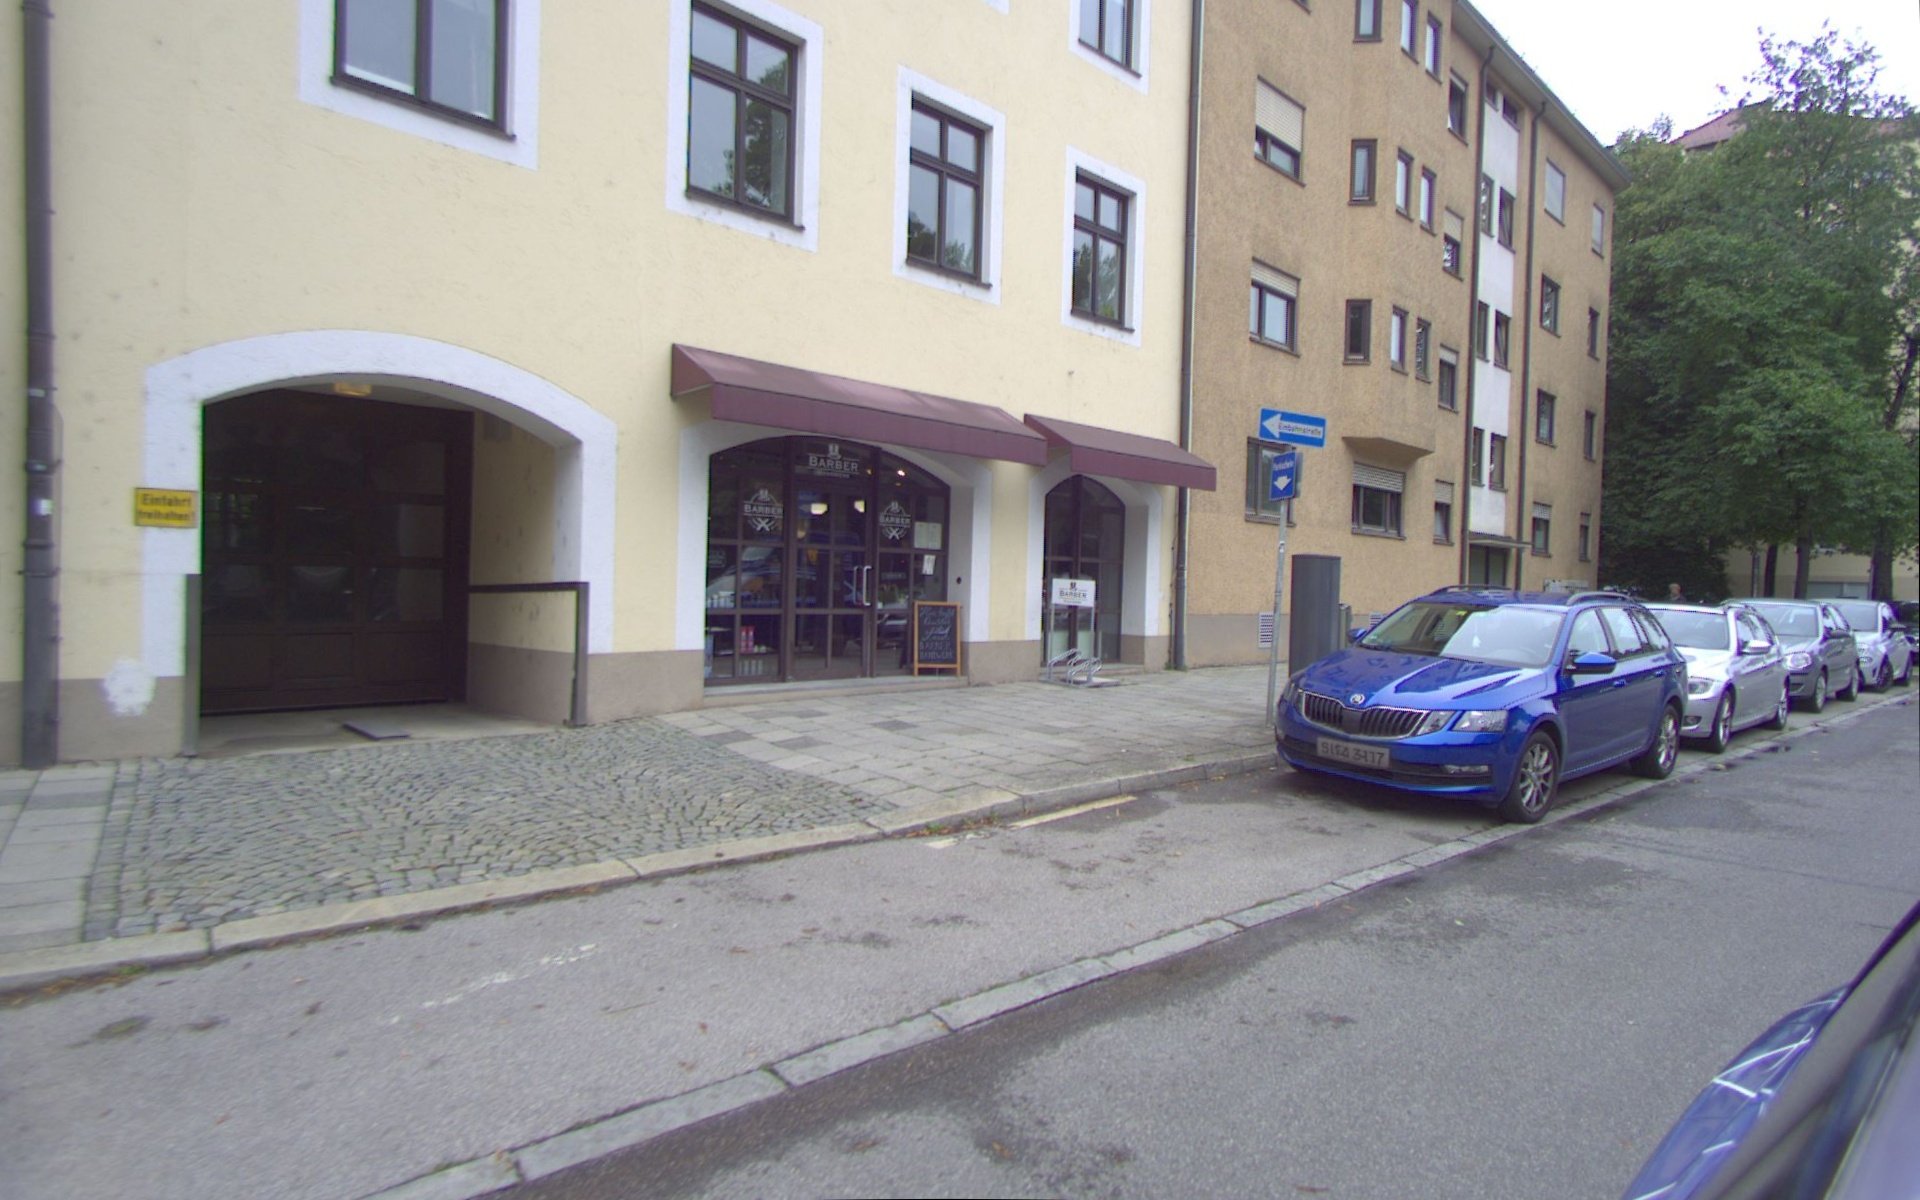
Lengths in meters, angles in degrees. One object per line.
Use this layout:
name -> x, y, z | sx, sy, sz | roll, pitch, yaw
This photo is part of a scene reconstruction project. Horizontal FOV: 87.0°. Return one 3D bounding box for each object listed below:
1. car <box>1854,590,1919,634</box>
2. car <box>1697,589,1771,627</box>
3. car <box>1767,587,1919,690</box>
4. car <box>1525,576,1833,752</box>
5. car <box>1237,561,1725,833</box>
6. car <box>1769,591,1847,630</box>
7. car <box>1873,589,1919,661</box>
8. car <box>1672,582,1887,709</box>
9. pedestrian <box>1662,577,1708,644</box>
car -> 36.796, 0.451, 40.006 | 4.175, 1.584, 1.822 | 0, 2, -44
car -> 33.540, 0.326, 43.826 | 4.175, 1.485, 1.914 | 0, 2, -44
car -> 15.405, 0.591, 17.379 | 3.752, 1.514, 1.632 | 0, 3, -40
car -> 8.054, 0.571, 11.176 | 4.355, 1.514, 1.694 | 0, 3, -40
car -> 4.248, 0.541, 7.914 | 4.407, 1.514, 1.761 | 0, 3, -40
car -> 35.276, 0.417, 42.080 | 4.175, 1.485, 2.050 | 0, 2, -44
car -> 22.567, 0.587, 23.196 | 4.299, 1.514, 1.796 | 0, 5, -41
car -> 11.747, 0.562, 14.435 | 3.719, 1.514, 1.632 | 0, 3, -40
pedestrian -> 18.152, 0.249, 25.352 | 0.963, 1.644, 0.672 | 0, 2, -39
